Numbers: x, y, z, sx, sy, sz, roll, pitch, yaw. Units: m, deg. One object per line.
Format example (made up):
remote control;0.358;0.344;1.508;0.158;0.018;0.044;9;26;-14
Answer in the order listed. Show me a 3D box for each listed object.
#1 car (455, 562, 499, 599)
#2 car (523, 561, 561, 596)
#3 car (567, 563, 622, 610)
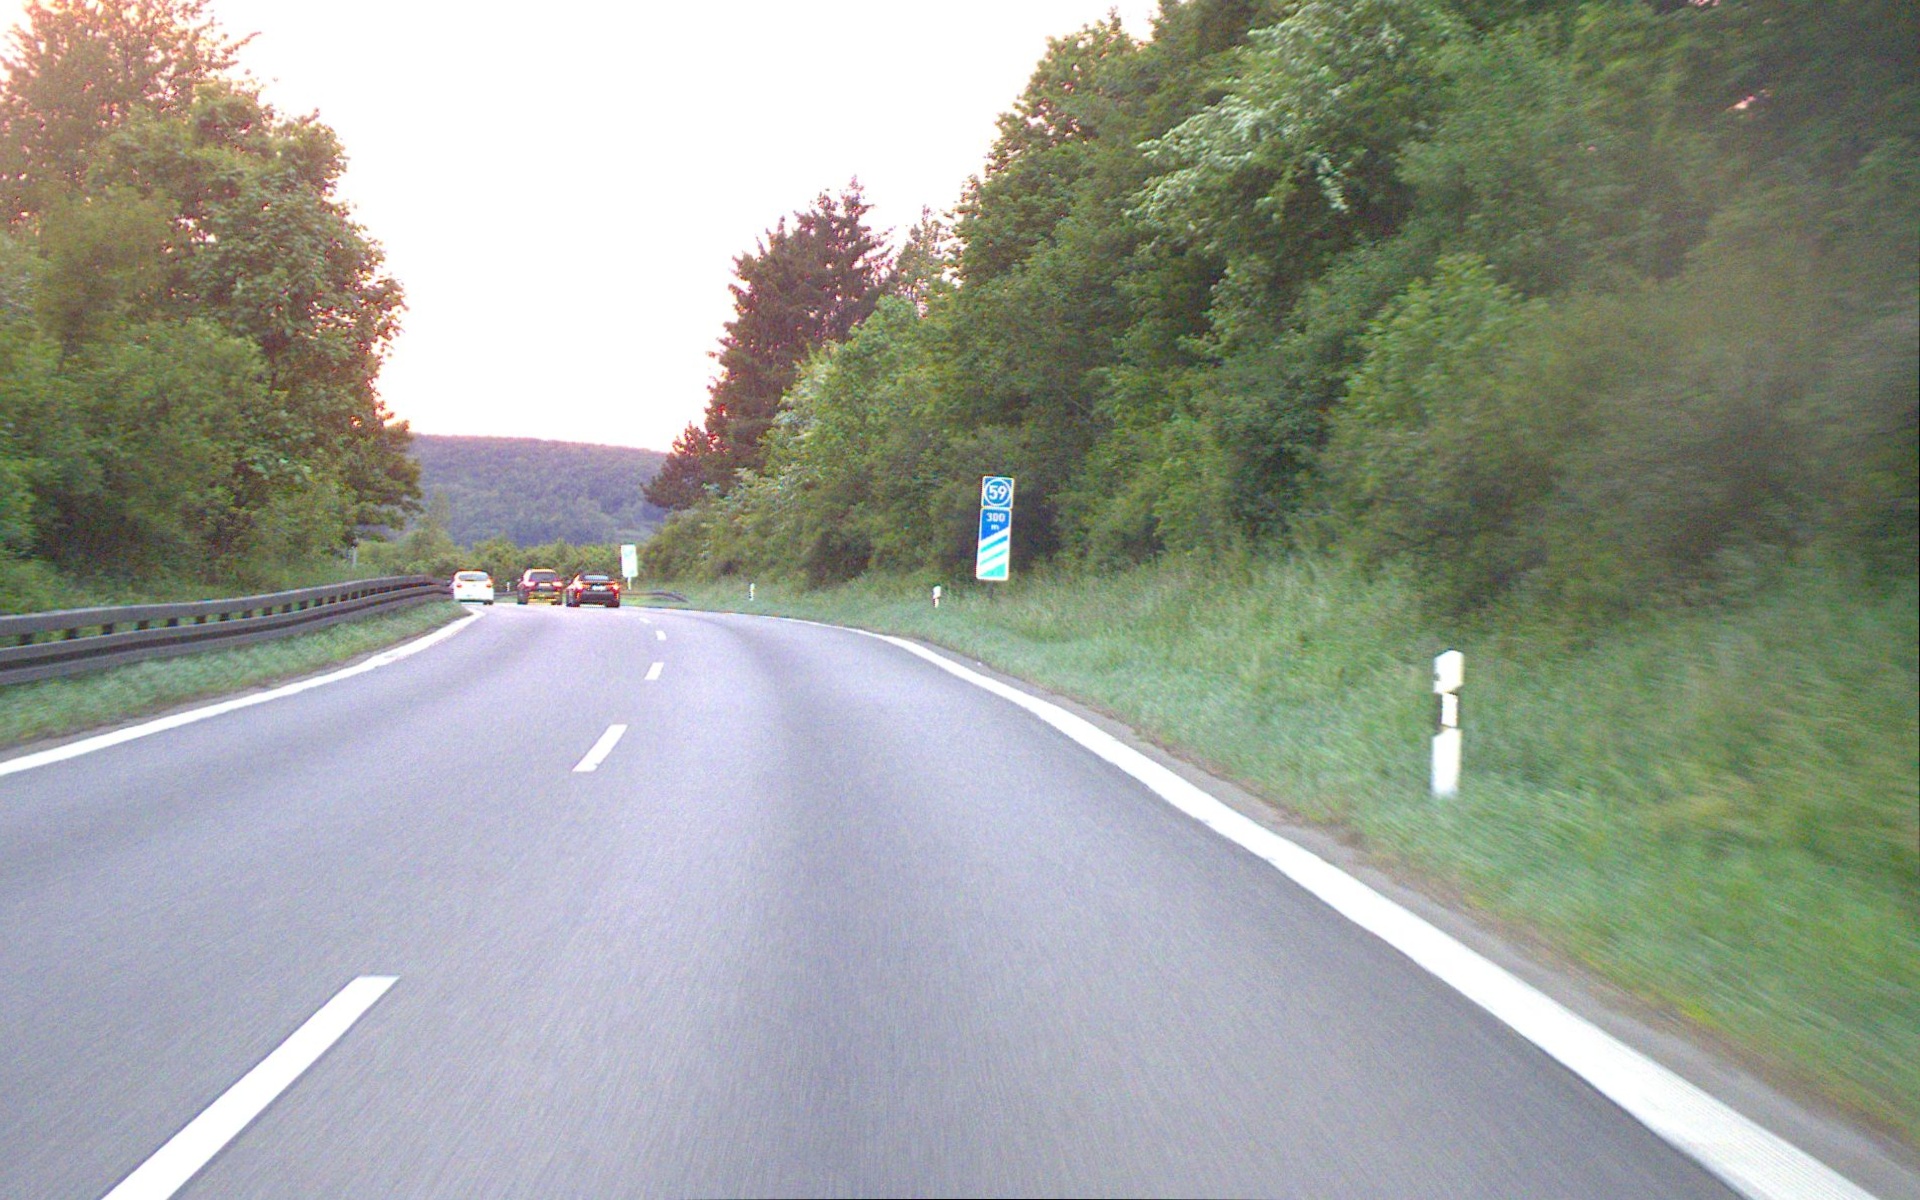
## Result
car;-21.342;-0.853;151.903;1.718;1.496;4.000;2;-1;-6
car;-19.494;-0.987;160.381;1.718;1.629;4.001;0;0;-6
car;-14.909;-0.548;140.081;1.993;1.640;4.000;4;-3;-8
